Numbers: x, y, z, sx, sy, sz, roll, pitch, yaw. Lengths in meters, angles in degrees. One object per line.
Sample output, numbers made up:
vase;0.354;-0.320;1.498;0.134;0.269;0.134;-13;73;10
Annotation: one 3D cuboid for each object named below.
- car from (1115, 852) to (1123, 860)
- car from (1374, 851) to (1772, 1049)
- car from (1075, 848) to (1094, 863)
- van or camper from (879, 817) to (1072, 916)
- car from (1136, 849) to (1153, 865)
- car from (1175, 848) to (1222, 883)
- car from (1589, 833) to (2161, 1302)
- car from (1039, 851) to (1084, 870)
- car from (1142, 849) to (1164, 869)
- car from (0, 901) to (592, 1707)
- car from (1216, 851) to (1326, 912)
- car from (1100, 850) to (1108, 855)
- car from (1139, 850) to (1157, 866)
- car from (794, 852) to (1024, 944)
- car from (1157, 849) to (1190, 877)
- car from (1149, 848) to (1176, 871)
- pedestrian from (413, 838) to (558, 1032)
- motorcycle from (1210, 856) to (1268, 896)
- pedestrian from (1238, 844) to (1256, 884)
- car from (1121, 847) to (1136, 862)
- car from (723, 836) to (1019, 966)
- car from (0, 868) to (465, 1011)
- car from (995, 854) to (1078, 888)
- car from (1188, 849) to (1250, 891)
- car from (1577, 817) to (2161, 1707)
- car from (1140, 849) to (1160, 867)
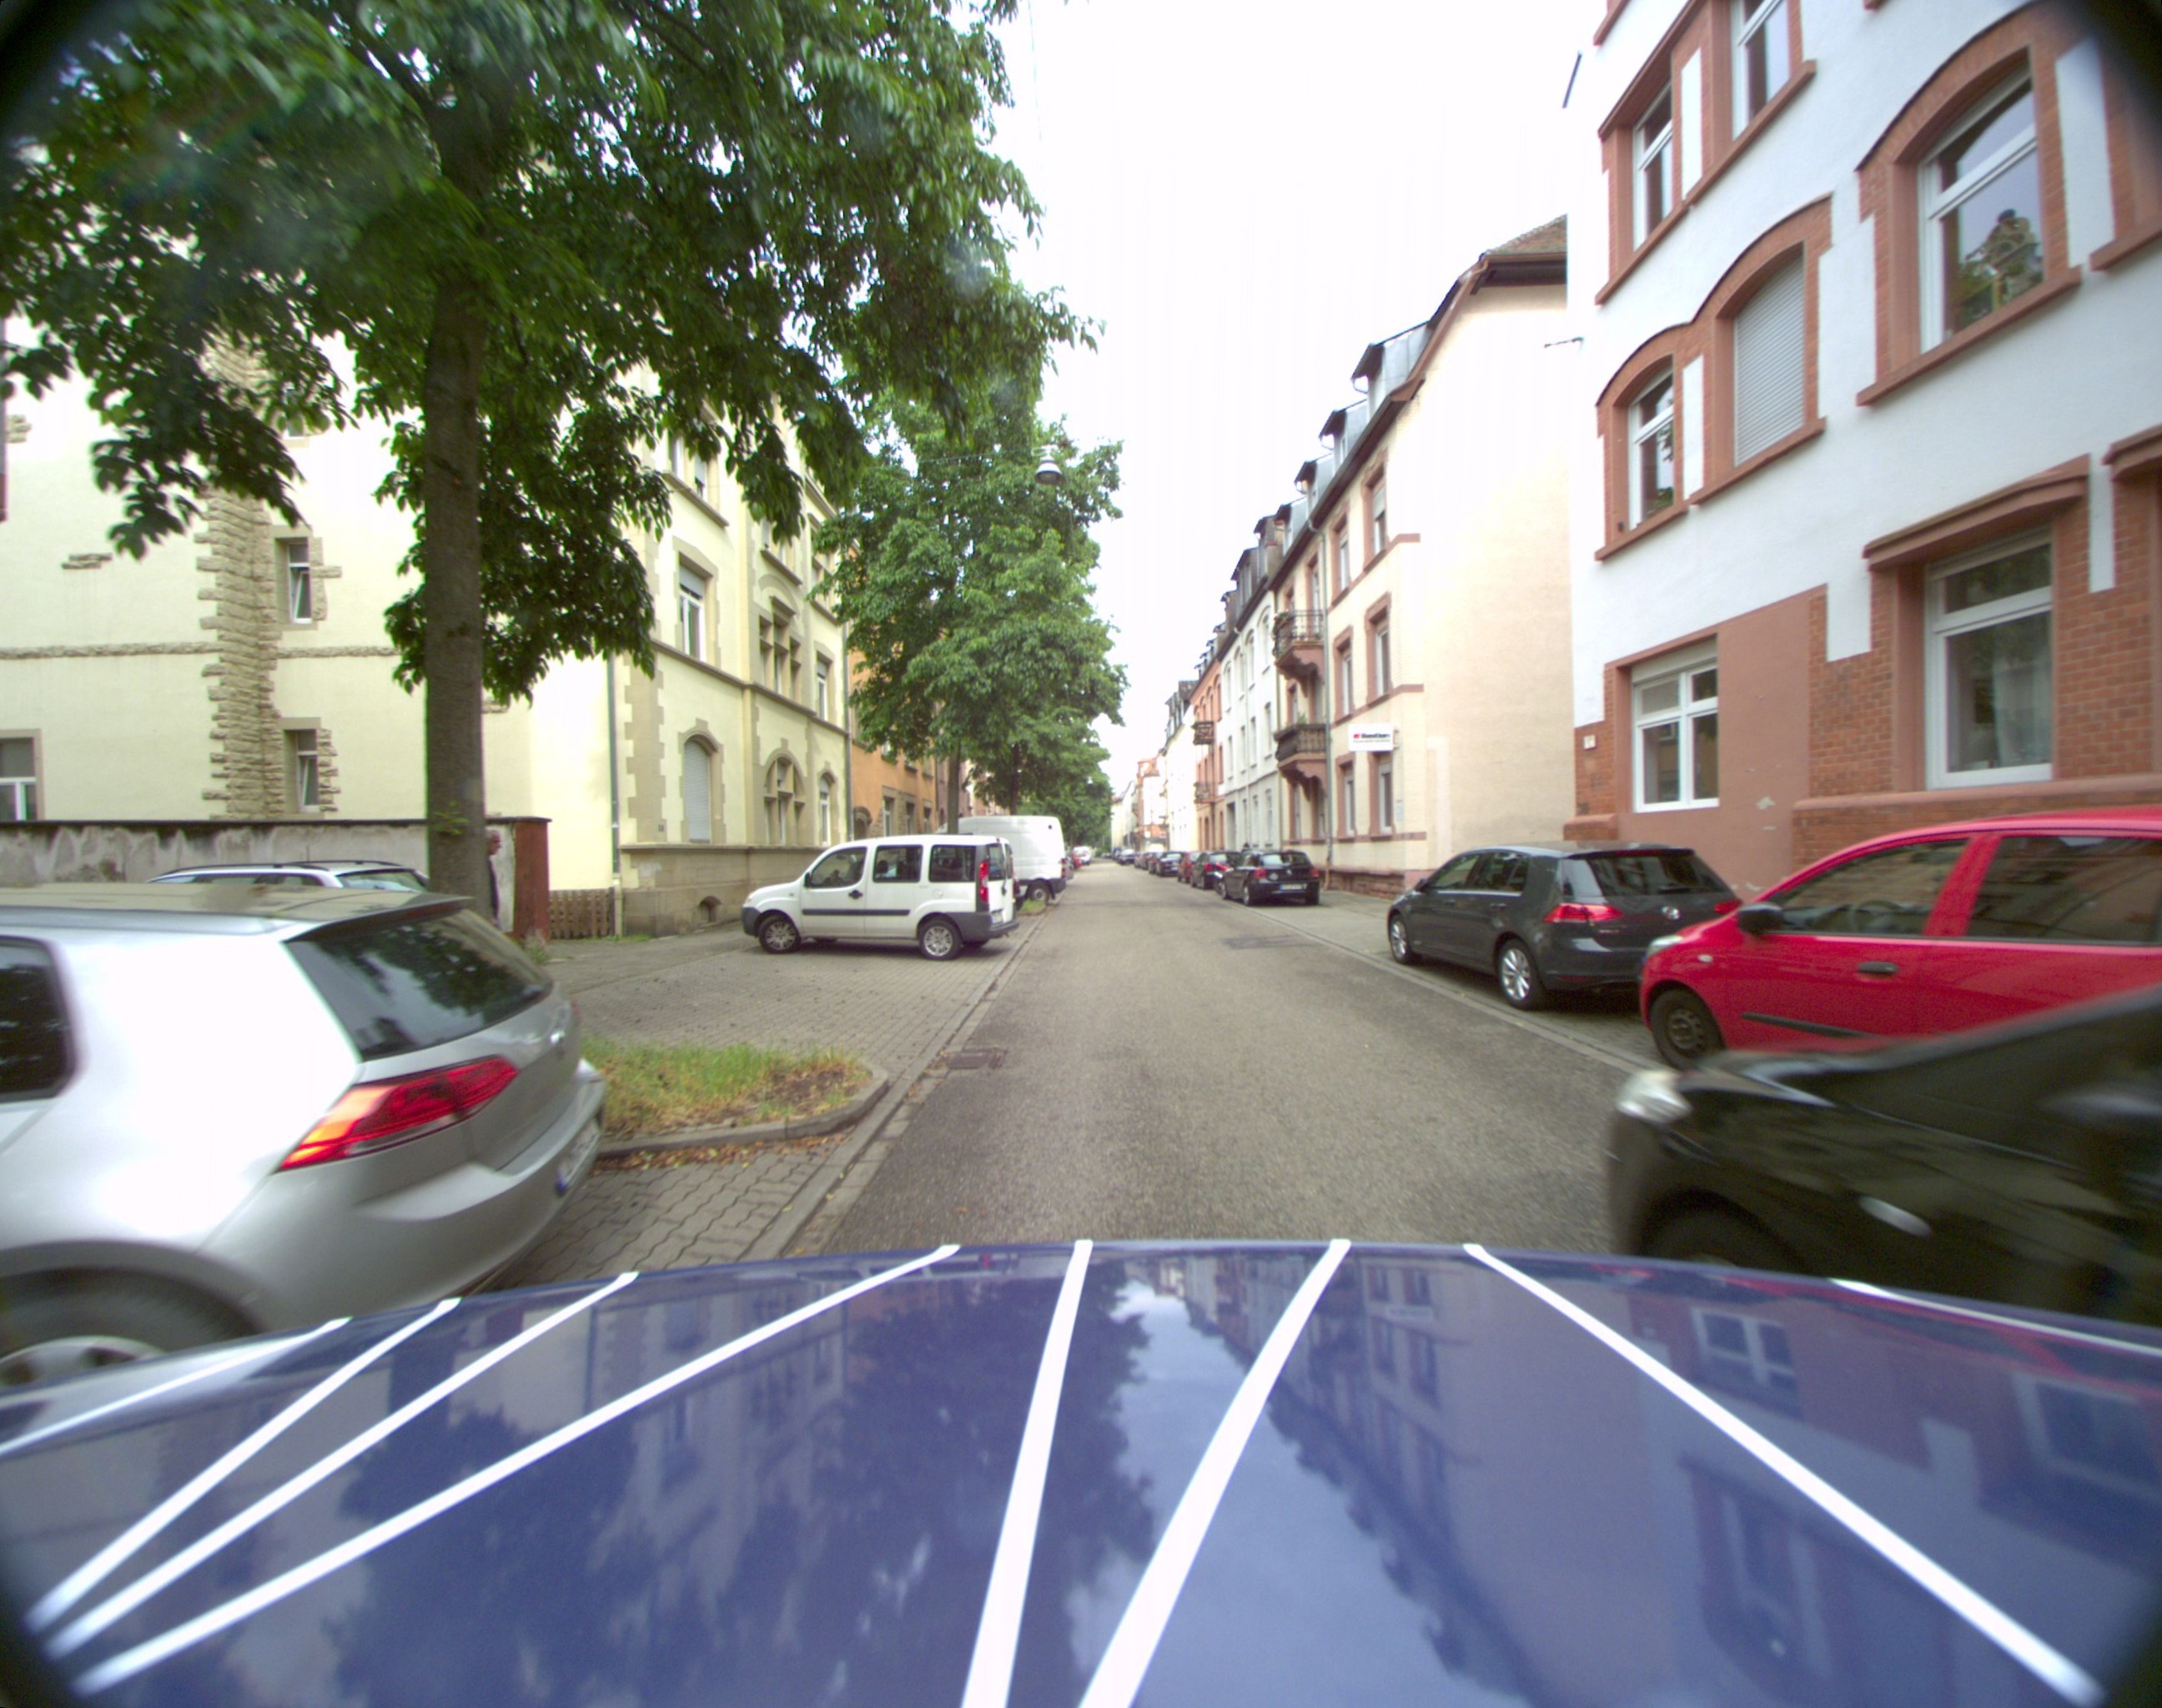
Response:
car;7.375;0.313;146.011;1.457;1.401;3.811;-3;0;2
car;4.415;0.720;7.608;1.469;1.408;3.918;-3;0;1
car;0.438;0.169;93.349;1.998;1.739;4.001;-2;0;3
van or camper;-3.026;0.320;22.005;5.077;2.575;2.069;-1;-1;-29
car;6.149;0.281;74.052;1.457;1.401;3.811;-3;0;2
car;5.252;0.477;34.203;1.610;1.463;3.342;-1;1;1
car;4.317;0.696;3.579;1.469;1.521;3.568;-3;0;1
car;-1.706;0.573;66.484;3.607;1.458;1.628;-2;0;-12
car;5.644;0.367;59.513;1.457;1.401;3.811;-3;0;2
car;-3.450;1.029;1.829;3.472;1.554;1.783;-2;0;-21
car;4.825;0.636;19.873;1.904;1.382;4.000;-2;0;1
car;6.452;-0.477;212.173;1.458;1.401;3.808;-1;0;-8
car;6.074;0.342;69.306;1.457;1.401;3.811;-3;0;2
car;-3.498;0.800;15.646;4.284;1.608;1.758;-1;1;-28
car;5.180;0.460;42.788;1.457;1.402;3.041;-3;2;1
car;5.232;0.340;49.209;1.457;1.401;3.811;-3;0;2
pedestrian;-5.863;0.760;7.532;0.703;1.801;0.817;-2;1;2
motorcycle;4.929;0.687;23.699;1.710;1.218;0.487;-2;1;19
pedestrian;6.858;0.403;31.463;0.577;1.599;0.544;-2;1;1
car;6.787;0.099;108.594;2.052;2.071;3.811;-3;0;2
car;-3.114;0.674;11.695;3.994;1.801;1.721;-1;1;8
car;-9.906;0.934;8.929;3.997;1.445;1.609;-1;1;1
car;-2.153;0.789;36.933;3.611;1.458;1.626;-2;0;-30
car;5.048;0.532;28.186;1.659;1.375;3.472;-3;0;1
car;2.334;0.749;0.178;1.813;1.621;4.208;-1;1;2
car;5.838;0.317;64.618;1.457;1.401;3.811;-3;0;2
